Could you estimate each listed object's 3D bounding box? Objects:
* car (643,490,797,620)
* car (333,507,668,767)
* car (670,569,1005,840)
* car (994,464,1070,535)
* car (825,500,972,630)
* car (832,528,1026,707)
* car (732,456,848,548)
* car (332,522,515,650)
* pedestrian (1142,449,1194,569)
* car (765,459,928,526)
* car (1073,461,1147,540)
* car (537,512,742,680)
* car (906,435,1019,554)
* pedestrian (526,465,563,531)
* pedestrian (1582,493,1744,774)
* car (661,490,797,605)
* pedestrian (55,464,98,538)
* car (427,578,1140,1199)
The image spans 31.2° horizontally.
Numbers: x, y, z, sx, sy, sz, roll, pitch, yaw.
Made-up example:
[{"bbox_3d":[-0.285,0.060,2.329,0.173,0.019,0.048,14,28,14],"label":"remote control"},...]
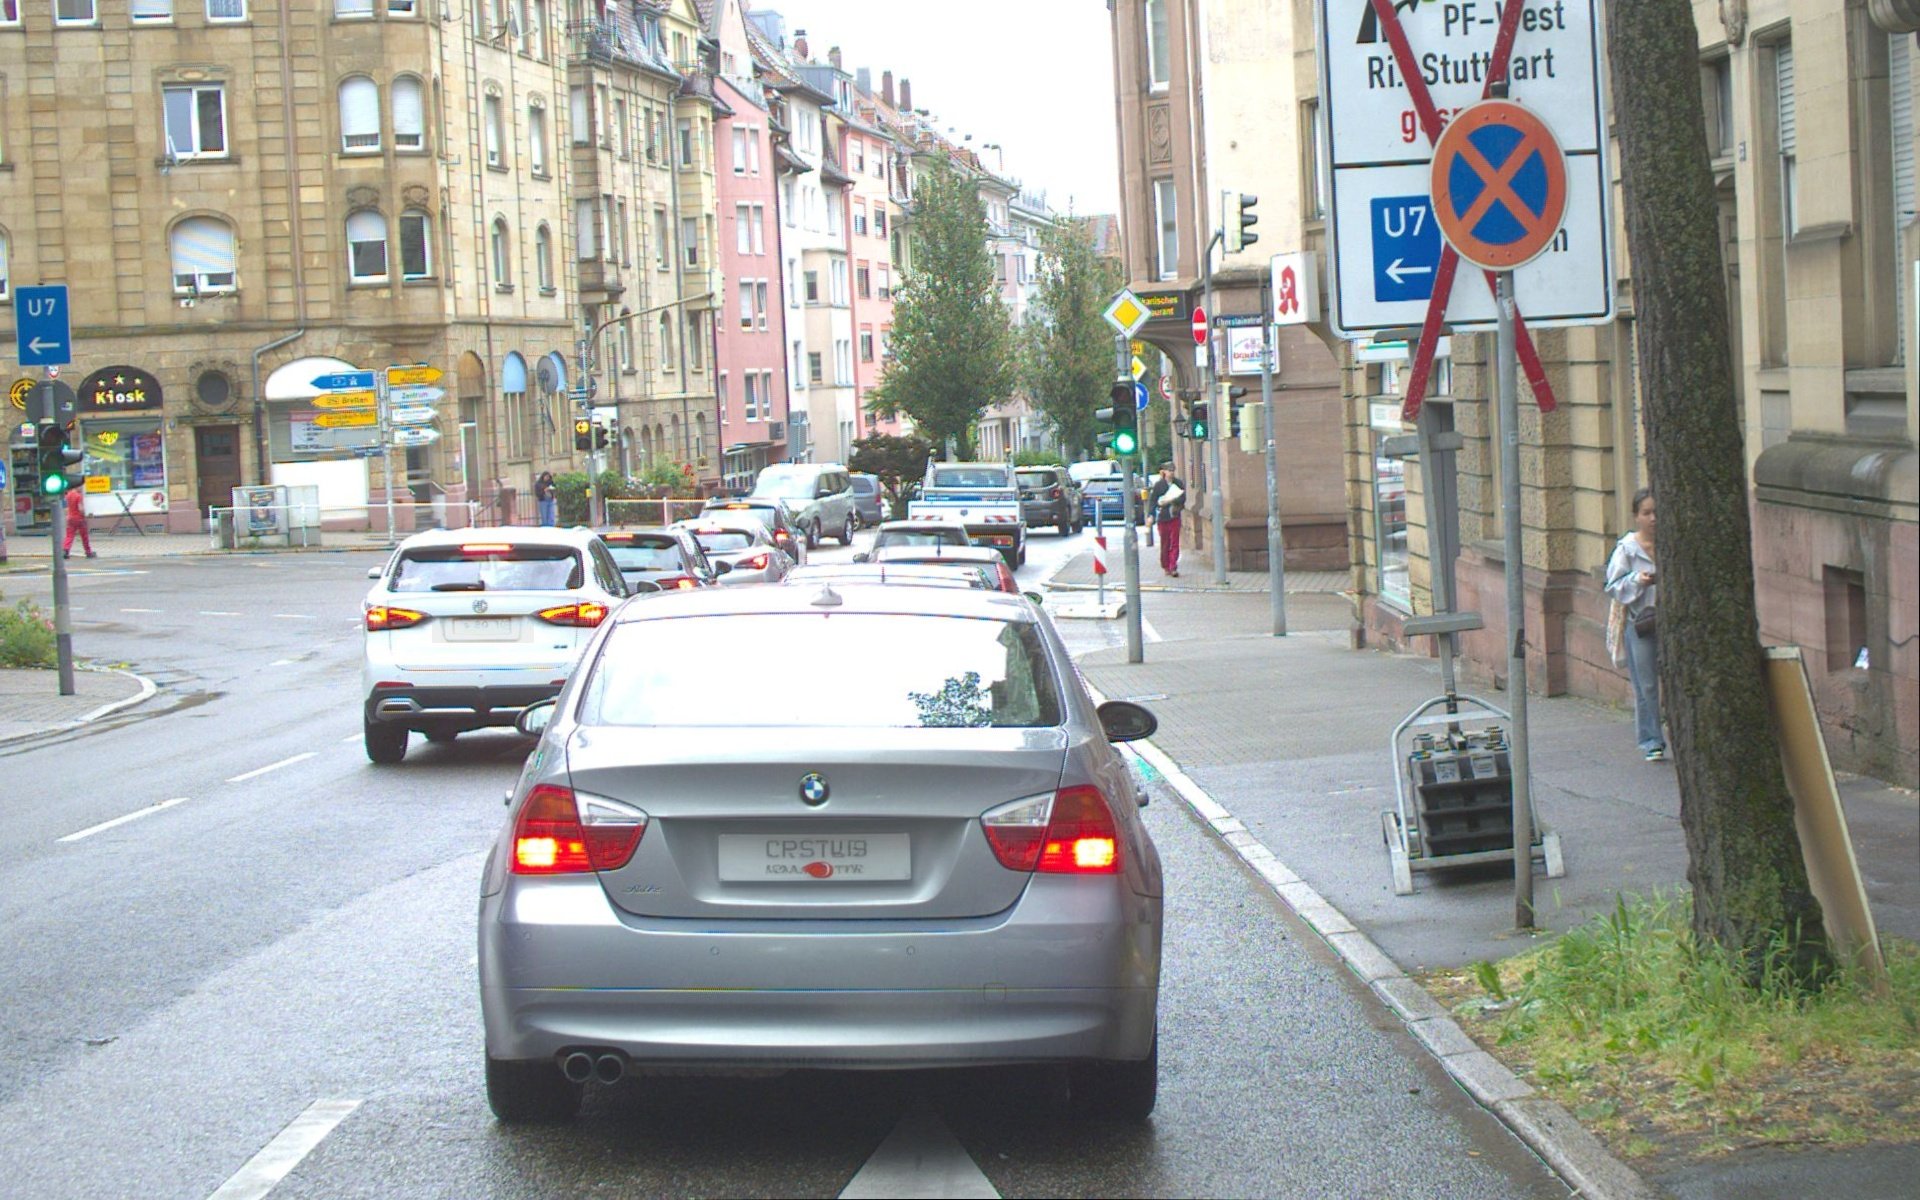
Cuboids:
[{"bbox_3d":[-3.270,-0.638,47.406,1.759,1.702,4.000,0,1,1],"label":"car"},{"bbox_3d":[-3.240,0.194,24.988,1.868,1.620,4.001,-2,2,0],"label":"car"},{"bbox_3d":[-0.627,0.540,20.325,1.759,1.378,4.000,0,1,1],"label":"car"},{"bbox_3d":[1.726,-2.370,81.752,1.725,1.547,4.000,1,0,2],"label":"car"},{"bbox_3d":[-0.745,-0.479,43.678,1.759,1.562,4.000,-1,2,0],"label":"car"},{"bbox_3d":[-0.218,0.102,30.444,1.595,1.459,4.000,0,1,1],"label":"car"},{"bbox_3d":[-3.692,-2.140,75.269,1.762,1.919,4.322,-1,1,7],"label":"car"},{"bbox_3d":[-7.228,-0.223,46.711,1.737,1.521,4.472,-4,1,-1],"label":"car"},{"bbox_3d":[3.358,-1.465,55.461,0.742,1.903,0.659,-1,1,-1],"label":"pedestrian"},{"bbox_3d":[-3.643,-3.472,111.526,5.176,2.007,2.699,1,0,0],"label":"car"},{"bbox_3d":[4.074,-2.673,92.850,1.725,2.007,3.999,1,0,6],"label":"car"},{"bbox_3d":[-3.396,-0.086,37.072,1.759,1.702,4.000,0,1,1],"label":"car"},{"bbox_3d":[0.036,-1.903,63.114,1.993,2.099,4.000,0,1,0],"label":"car"},{"bbox_3d":[-9.924,-2.438,82.138,0.732,1.572,0.528,-1,1,9],"label":"pedestrian"},{"bbox_3d":[3.954,0.179,19.372,0.631,1.503,0.693,-5,1,-1],"label":"pedestrian"},{"bbox_3d":[-3.541,-0.834,53.232,1.759,1.702,4.000,0,1,1],"label":"car"},{"bbox_3d":[-19.061,-2.144,74.182,0.537,1.572,0.719,-1,1,17],"label":"pedestrian"},{"bbox_3d":[-0.372,0.664,9.679,1.623,1.378,3.615,0,1,1],"label":"car"}]
